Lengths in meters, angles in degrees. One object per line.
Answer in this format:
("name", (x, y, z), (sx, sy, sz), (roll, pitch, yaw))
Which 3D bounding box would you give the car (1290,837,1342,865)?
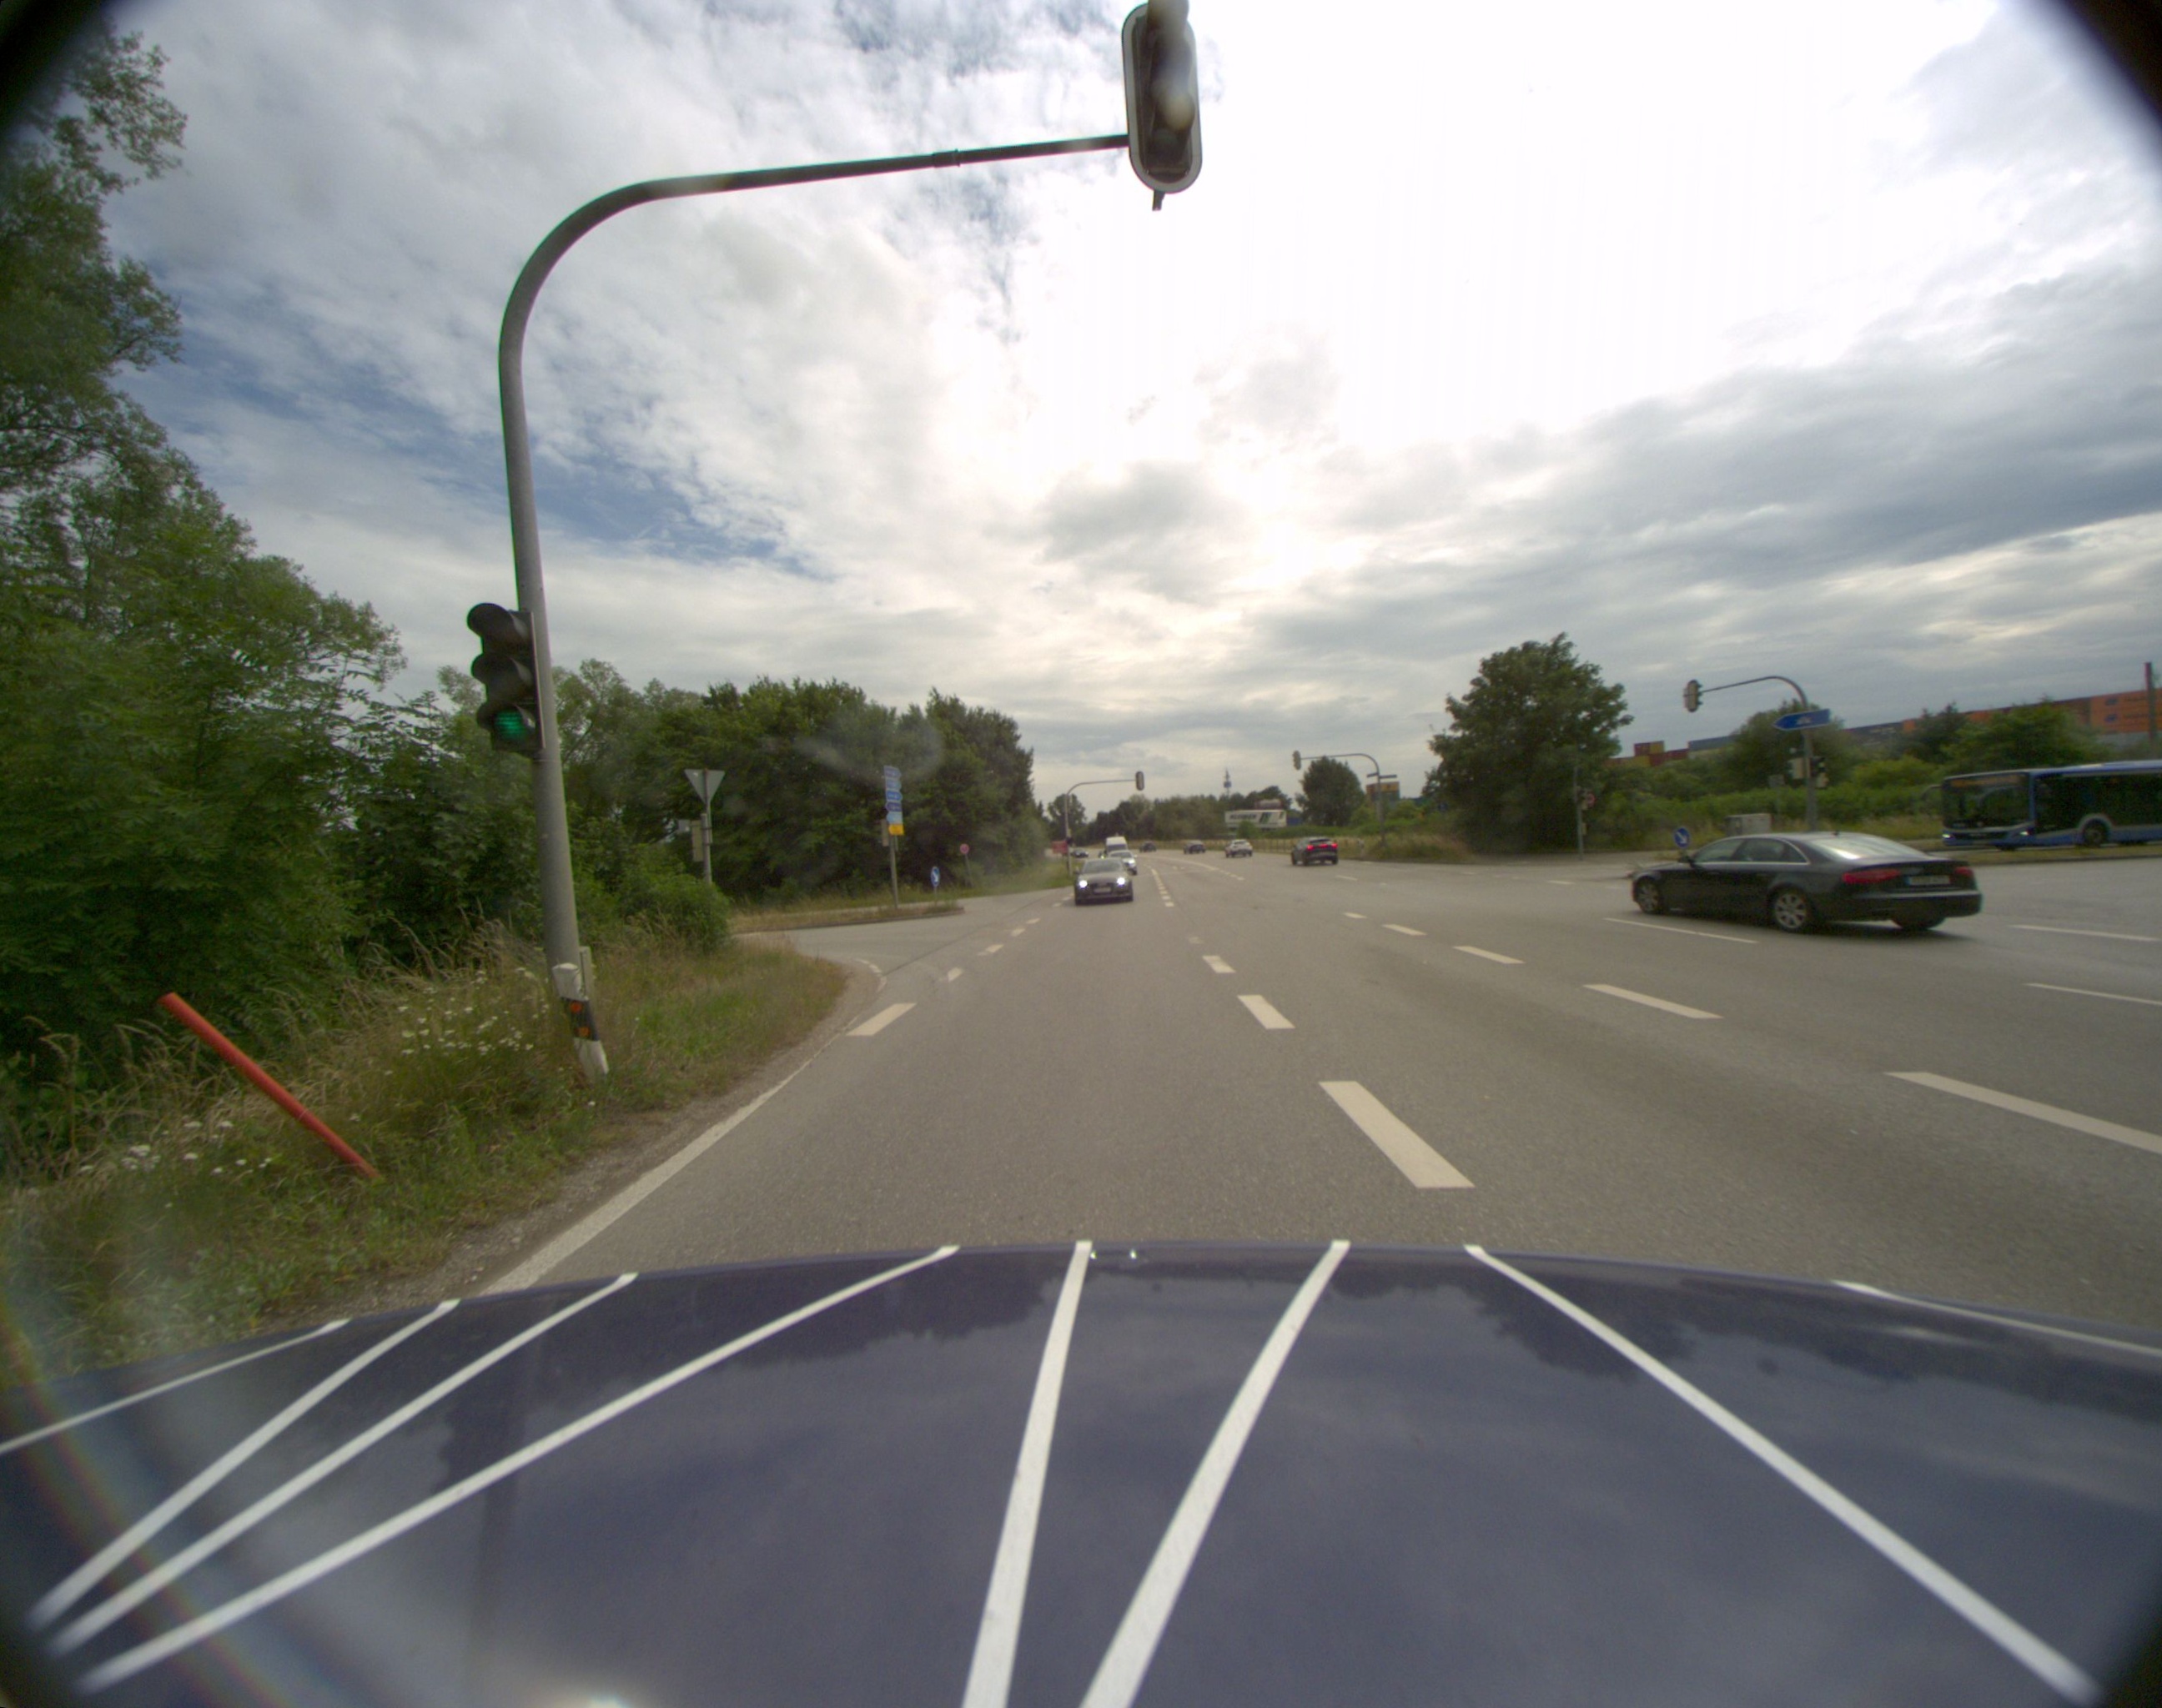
("car", (12.876, -0.205, 41.807), (1.744, 1.377, 4.000), (-4, 1, 3))

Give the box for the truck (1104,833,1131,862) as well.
("truck", (3.447, -0.633, 72.096), (2.379, 2.578, 5.999), (-2, 1, 2))

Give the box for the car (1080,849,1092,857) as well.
("car", (0.798, -0.136, 115.883), (1.744, 1.317, 4.000), (0, 0, 0))

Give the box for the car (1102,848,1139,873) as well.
("car", (2.521, 0.405, 48.938), (1.827, 1.489, 4.222), (-1, 0, -4))

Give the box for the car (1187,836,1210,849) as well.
("car", (13.915, -1.387, 90.029), (1.745, 1.378, 3.997), (-5, 2, -4))

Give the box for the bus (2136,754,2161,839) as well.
("bus", (46.267, -2.438, 29.276), (7.823, 3.328, 3.120), (-3, 1, -7))

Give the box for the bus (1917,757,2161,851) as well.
("bus", (37.372, -1.871, 28.253), (10.071, 3.029, 3.120), (-3, 1, -7))

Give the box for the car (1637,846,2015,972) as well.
("car", (10.768, 0.663, 11.527), (1.744, 1.477, 4.200), (-3, 1, 3))

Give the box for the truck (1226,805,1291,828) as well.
("truck", (35.412, -7.517, 152.616), (3.368, 4.303, 14.168), (-4, 4, -35))

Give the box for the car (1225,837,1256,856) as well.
("car", (13.890, -0.671, 66.484), (1.744, 1.477, 3.999), (-5, 1, 0))

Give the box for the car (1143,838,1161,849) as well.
("car", (10.852, -1.613, 116.286), (1.745, 1.378, 3.996), (-5, 2, -8))

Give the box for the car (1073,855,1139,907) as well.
("car", (0.967, 0.857, 25.986), (1.964, 1.446, 4.798), (-3, 1, 5))

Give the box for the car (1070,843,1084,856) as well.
("car", (-0.700, -0.713, 127.955), (1.999, 2.002, 3.998), (-2, 1, -3))
